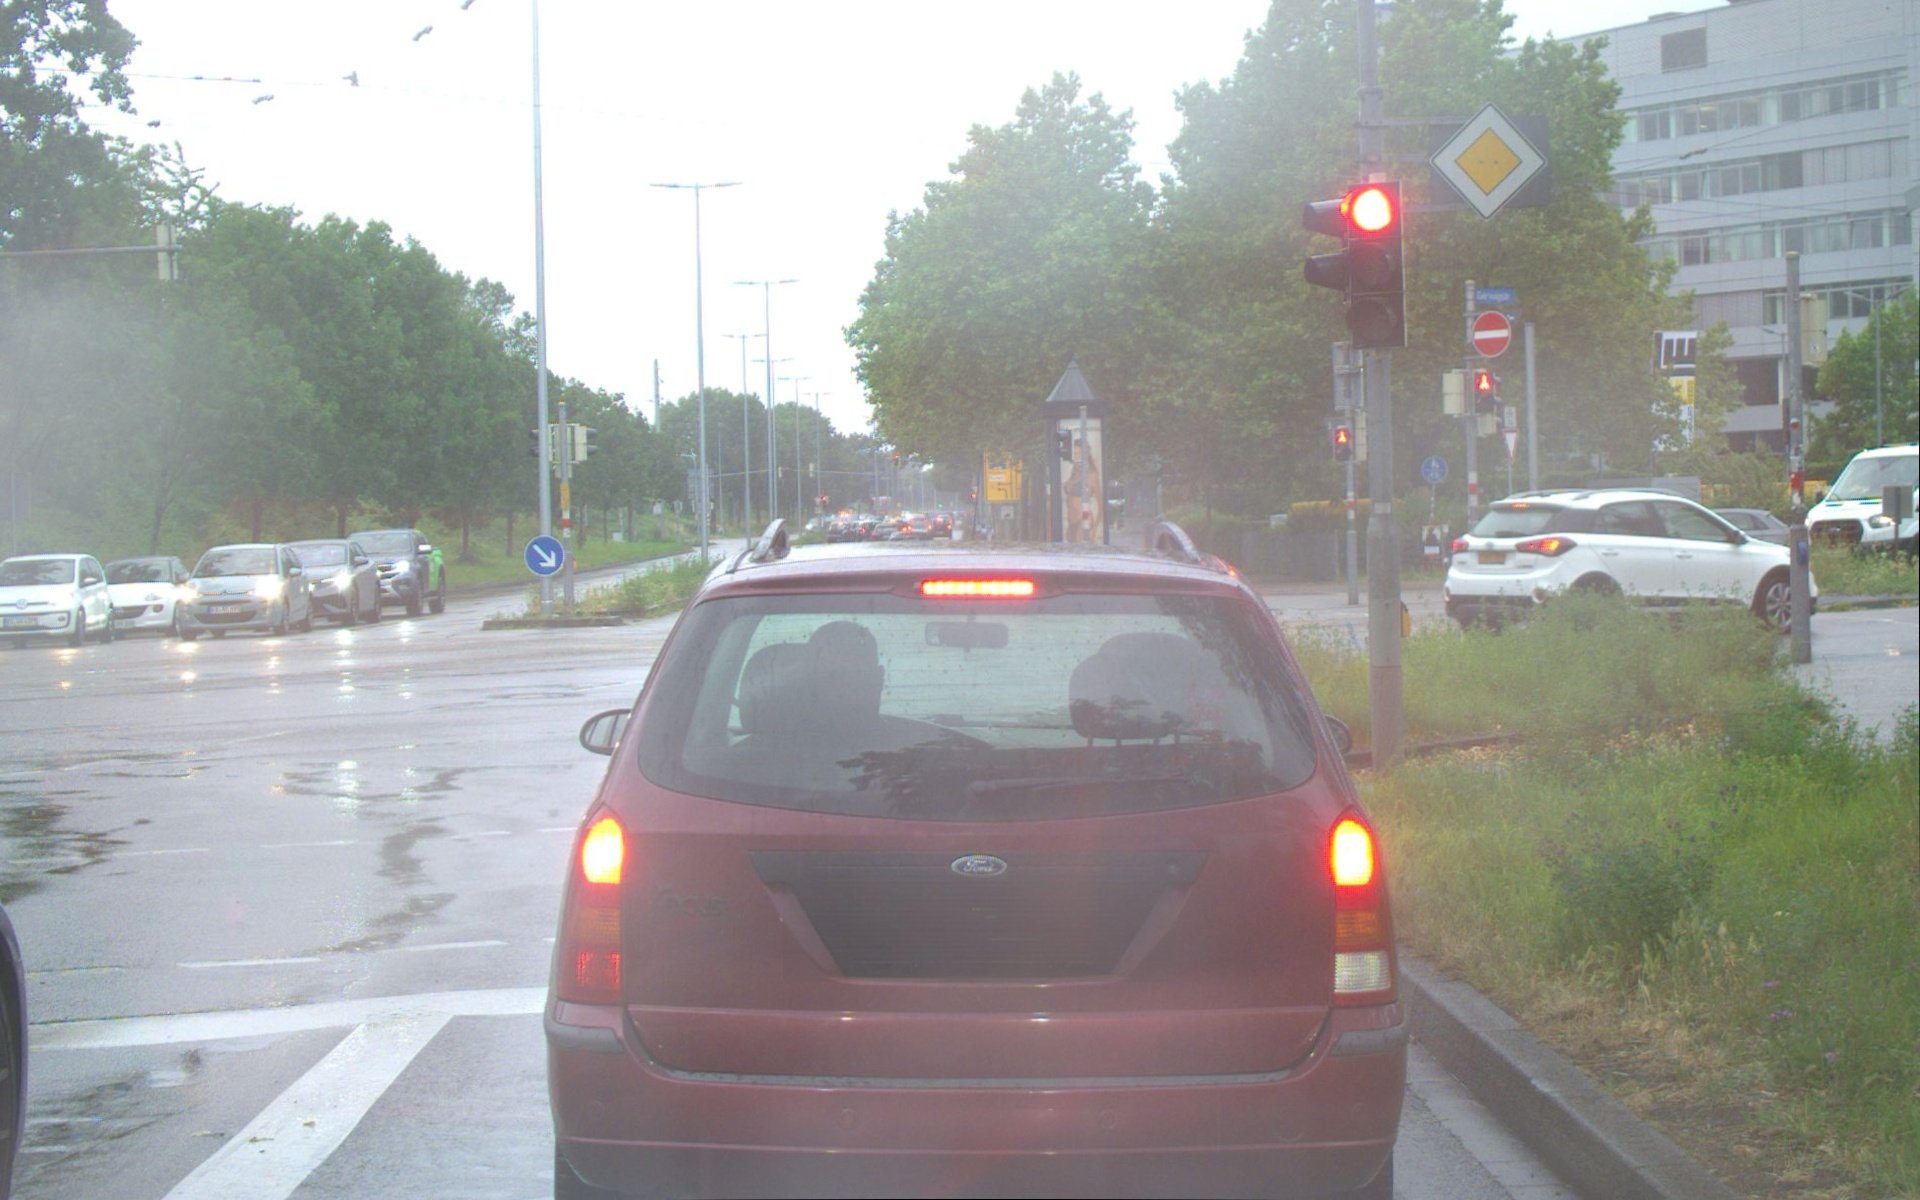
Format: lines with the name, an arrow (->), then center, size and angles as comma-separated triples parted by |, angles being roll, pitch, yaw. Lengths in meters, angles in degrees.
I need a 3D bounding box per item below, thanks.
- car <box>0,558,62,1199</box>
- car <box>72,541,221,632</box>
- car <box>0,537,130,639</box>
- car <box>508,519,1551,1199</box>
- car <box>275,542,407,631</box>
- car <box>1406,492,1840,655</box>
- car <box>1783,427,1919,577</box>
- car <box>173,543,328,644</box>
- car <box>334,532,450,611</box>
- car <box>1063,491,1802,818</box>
car -> -2.686, 0.674, 4.829 | 1.690, 1.428, 4.574 | 0, 1, -1
car -> -14.506, -0.272, 61.503 | 1.712, 1.525, 4.000 | -1, 1, -1
car -> -14.600, -0.216, 54.964 | 1.712, 1.525, 4.000 | -1, 1, -1
car -> 0.094, 0.596, 8.153 | 1.796, 1.532, 4.387 | 1, 1, -1
car -> -11.293, -0.271, 62.946 | 1.712, 1.525, 4.000 | -1, 1, -1
car -> 6.739, -0.290, 34.864 | 4.050, 1.515, 2.000 | -2, 1, -33
car -> 15.090, -1.601, 53.732 | 4.374, 2.183, 1.802 | -5, 3, -35
car -> -11.542, -0.132, 56.186 | 1.712, 1.525, 4.000 | -1, 1, -1
car -> -11.620, -0.615, 70.556 | 1.712, 1.525, 4.000 | -1, 1, -1
car -> 2.861, 0.226, 20.227 | 4.375, 1.531, 1.801 | -5, 4, -40
